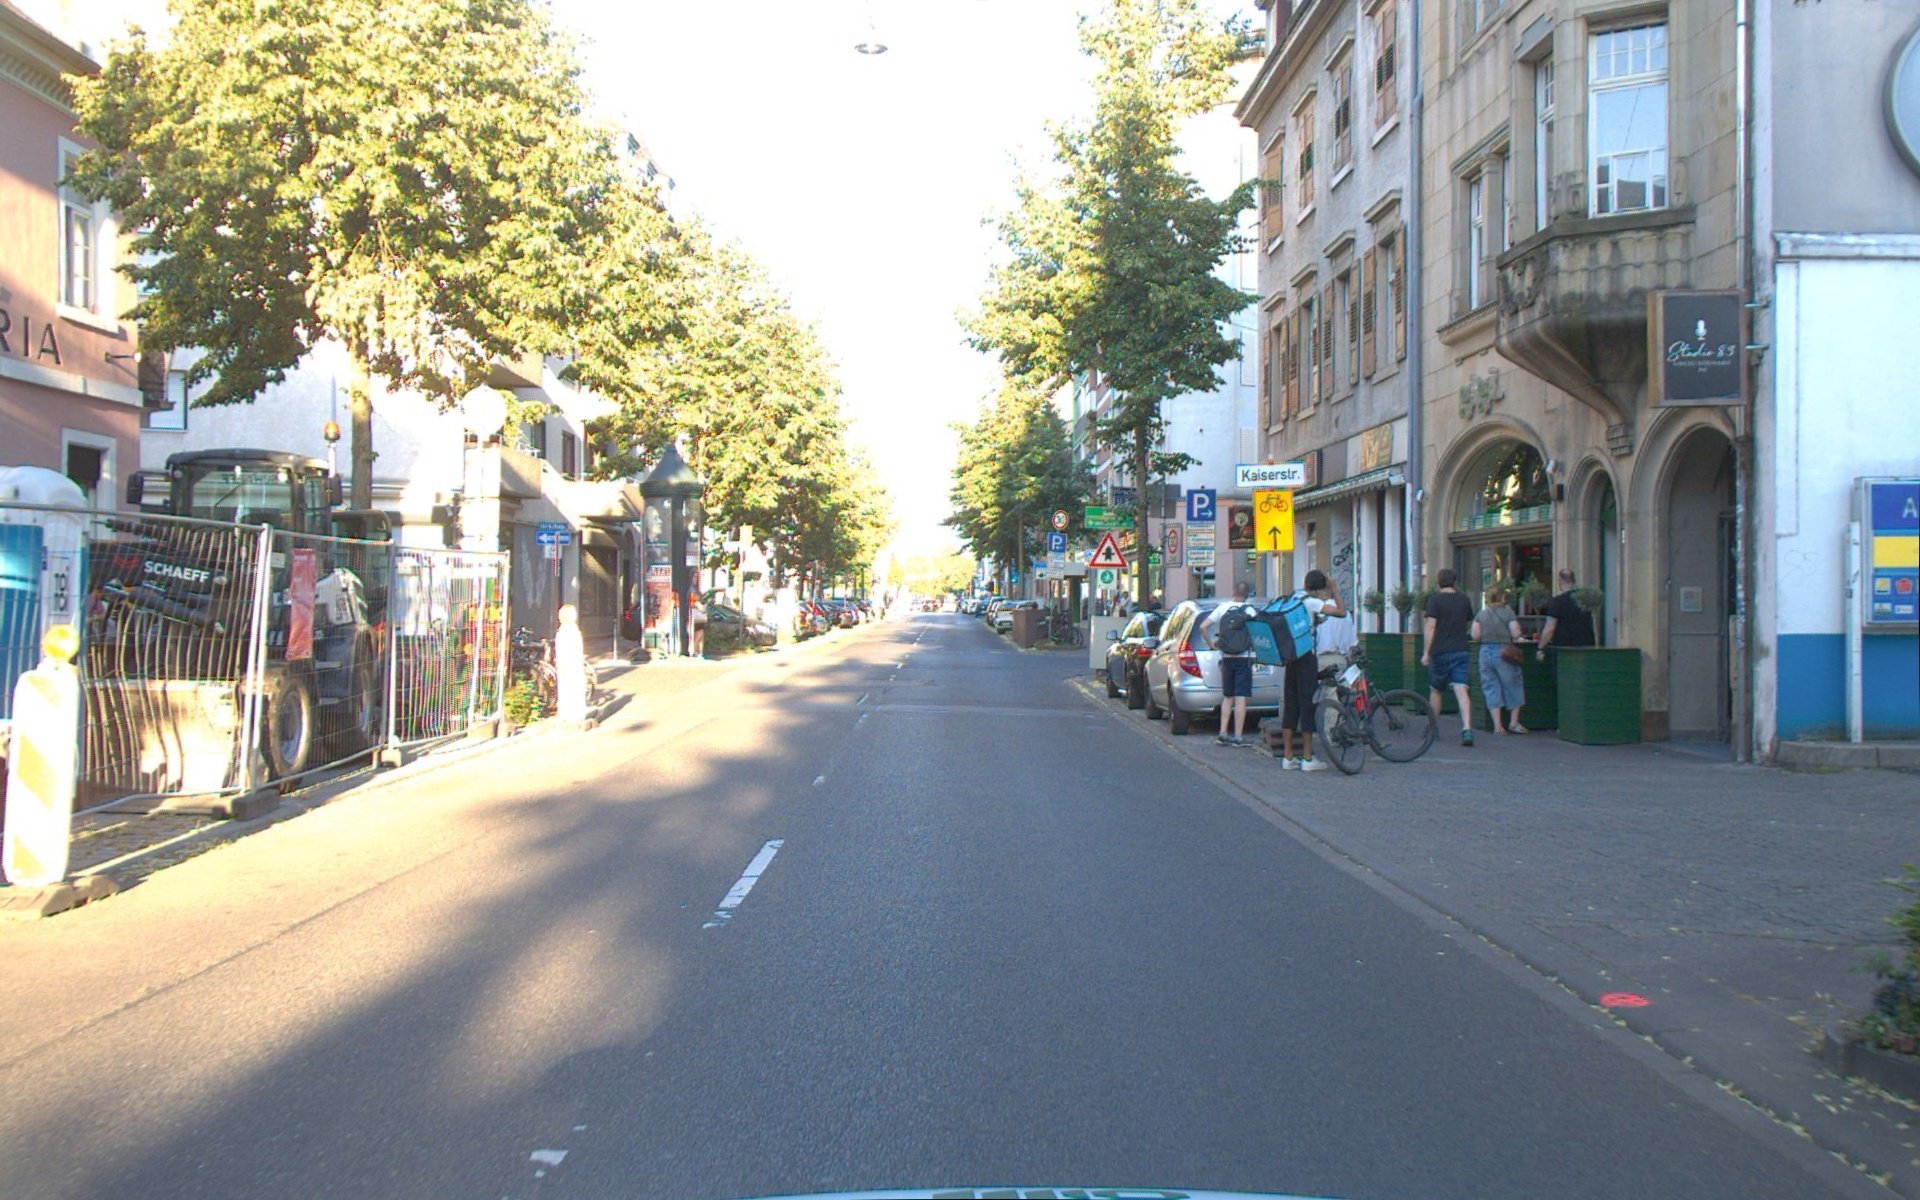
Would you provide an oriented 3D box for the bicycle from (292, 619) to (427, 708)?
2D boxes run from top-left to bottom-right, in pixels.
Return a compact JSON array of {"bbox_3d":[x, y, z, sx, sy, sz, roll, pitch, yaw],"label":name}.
[{"bbox_3d":[-8.161,0.859,22.508,1.647,1.169,0.444,1,-1,3],"label":"bicycle"}]

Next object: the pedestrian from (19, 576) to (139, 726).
[{"bbox_3d":[-10.919,0.614,20.516,0.799,1.796,1.040,0,0,19],"label":"pedestrian"}]

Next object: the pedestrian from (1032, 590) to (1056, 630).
[{"bbox_3d":[4.160,0.483,81.876,0.900,1.959,1.015,2,0,-11],"label":"pedestrian"}]

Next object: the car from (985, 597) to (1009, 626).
[{"bbox_3d":[2.441,0.764,109.747,1.482,1.897,4.235,1,-1,1],"label":"car"}]

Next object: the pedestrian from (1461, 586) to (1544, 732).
[{"bbox_3d":[6.114,0.650,18.659,0.645,1.589,0.701,-2,0,-1],"label":"pedestrian"}]

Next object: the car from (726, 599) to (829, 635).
[{"bbox_3d":[-8.103,0.755,73.635,4.351,1.484,1.859,1,0,0],"label":"car"}]

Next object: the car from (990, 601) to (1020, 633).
[{"bbox_3d":[2.321,0.891,85.722,1.482,1.605,3.218,1,0,1],"label":"car"}]

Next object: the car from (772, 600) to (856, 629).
[{"bbox_3d":[-7.887,0.797,89.859,4.351,1.474,1.919,1,0,0],"label":"car"}]

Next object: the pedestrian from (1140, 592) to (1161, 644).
[{"bbox_3d":[6.096,0.584,52.905,0.555,1.627,0.663,-1,1,0],"label":"pedestrian"}]

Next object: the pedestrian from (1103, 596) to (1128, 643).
[{"bbox_3d":[5.552,0.689,59.067,0.779,1.654,0.913,0,0,12],"label":"pedestrian"}]

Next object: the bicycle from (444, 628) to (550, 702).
[{"bbox_3d":[-6.994,0.975,25.020,1.458,1.077,0.470,1,-1,-7],"label":"bicycle"}]

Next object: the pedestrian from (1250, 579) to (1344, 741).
[{"bbox_3d":[3.744,0.651,18.403,0.666,1.735,0.822,-2,0,-15],"label":"pedestrian"}]

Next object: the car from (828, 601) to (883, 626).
[{"bbox_3d":[-8.501,1.096,134.504,4.351,1.994,1.919,1,0,0],"label":"car"}]

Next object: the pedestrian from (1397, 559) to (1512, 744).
[{"bbox_3d":[5.278,0.534,17.724,0.806,1.886,1.097,-2,0,-2],"label":"pedestrian"}]

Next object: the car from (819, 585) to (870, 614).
[{"bbox_3d":[-10.093,-0.013,144.663,4.351,2.477,1.919,1,-1,0],"label":"car"}]

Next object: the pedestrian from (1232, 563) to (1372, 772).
[{"bbox_3d":[3.184,0.613,15.446,0.995,1.857,0.778,-2,0,-10],"label":"pedestrian"}]

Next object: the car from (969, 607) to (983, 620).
[{"bbox_3d":[1.704,1.439,175.302,1.482,1.285,3.303,1,-1,1],"label":"car"}]

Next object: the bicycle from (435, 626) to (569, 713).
[{"bbox_3d":[-6.243,0.939,22.566,1.648,1.097,0.444,3,-1,-1],"label":"bicycle"}]

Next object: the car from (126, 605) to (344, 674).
[{"bbox_3d":[-15.411,0.809,35.316,4.139,1.404,1.985,0,0,-24],"label":"car"}]

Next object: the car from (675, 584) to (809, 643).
[{"bbox_3d":[-7.748,0.475,59.056,4.478,1.996,1.990,1,0,-1],"label":"car"}]

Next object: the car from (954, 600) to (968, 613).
[{"bbox_3d":[0.170,0.831,209.595,1.716,1.567,3.303,0,-1,1],"label":"car"}]

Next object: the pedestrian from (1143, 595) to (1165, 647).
[{"bbox_3d":[6.114,0.663,52.141,0.555,1.611,0.663,-1,1,0],"label":"pedestrian"}]

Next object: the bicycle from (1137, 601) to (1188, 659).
[{"bbox_3d":[4.098,0.603,33.513,0.762,1.131,1.899,-1,-1,-1],"label":"bicycle"}]

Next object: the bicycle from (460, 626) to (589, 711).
[{"bbox_3d":[-6.094,0.955,23.159,1.647,1.097,0.445,3,-1,7],"label":"bicycle"}]

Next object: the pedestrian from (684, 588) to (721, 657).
[{"bbox_3d":[-6.435,0.559,41.411,0.695,1.716,0.834,0,0,8],"label":"pedestrian"}]

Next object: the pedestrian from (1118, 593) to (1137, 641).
[{"bbox_3d":[6.054,0.612,59.859,0.617,1.709,0.892,0,0,10],"label":"pedestrian"}]

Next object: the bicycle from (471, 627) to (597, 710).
[{"bbox_3d":[-6.111,0.981,23.750,1.647,1.097,0.445,3,-1,7],"label":"bicycle"}]

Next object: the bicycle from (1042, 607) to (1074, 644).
[{"bbox_3d":[3.231,0.834,54.402,0.585,1.198,1.847,0,0,19],"label":"bicycle"}]

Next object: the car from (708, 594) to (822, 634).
[{"bbox_3d":[-7.855,0.554,66.765,4.351,1.533,1.844,1,0,0],"label":"car"}]

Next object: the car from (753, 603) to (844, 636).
[{"bbox_3d":[-8.101,0.976,83.253,4.351,1.595,1.919,1,0,0],"label":"car"}]

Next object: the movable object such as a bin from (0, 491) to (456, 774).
[{"bbox_3d":[-8.305,0.292,16.897,2.273,2.539,5.719,0,0,42],"label":"movable object such as a bin"}]

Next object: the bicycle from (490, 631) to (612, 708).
[{"bbox_3d":[-6.046,1.022,24.469,1.647,1.039,0.445,3,-1,7],"label":"bicycle"}]

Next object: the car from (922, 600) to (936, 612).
[{"bbox_3d":[-4.025,0.758,217.150,1.716,1.567,3.303,0,-1,1],"label":"car"}]

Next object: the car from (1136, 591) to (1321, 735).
[{"bbox_3d":[3.336,0.726,21.241,1.652,1.602,4.012,-2,0,0],"label":"car"}]

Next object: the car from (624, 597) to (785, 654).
[{"bbox_3d":[-7.454,0.738,48.591,4.454,1.568,1.810,1,0,-2],"label":"car"}]

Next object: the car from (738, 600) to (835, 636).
[{"bbox_3d":[-8.210,0.847,78.620,4.351,1.595,1.919,1,0,0],"label":"car"}]

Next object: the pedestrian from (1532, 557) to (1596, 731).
[{"bbox_3d":[6.742,0.485,18.467,0.452,1.908,0.499,-1,0,-16],"label":"pedestrian"}]

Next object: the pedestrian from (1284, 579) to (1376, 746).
[{"bbox_3d":[3.960,0.659,17.690,0.648,1.730,0.657,-2,0,-45],"label":"pedestrian"}]

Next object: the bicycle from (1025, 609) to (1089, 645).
[{"bbox_3d":[3.101,0.858,52.940,1.918,1.092,0.704,0,0,31],"label":"bicycle"}]

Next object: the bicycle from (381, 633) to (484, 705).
[{"bbox_3d":[-7.515,0.979,23.589,1.296,0.997,0.444,1,-1,3],"label":"bicycle"}]

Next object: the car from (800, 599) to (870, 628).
[{"bbox_3d":[-8.055,0.891,107.231,4.351,1.790,1.919,1,0,0],"label":"car"}]

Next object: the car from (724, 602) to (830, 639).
[{"bbox_3d":[-7.872,0.865,71.331,4.351,1.510,1.809,1,0,0],"label":"car"}]

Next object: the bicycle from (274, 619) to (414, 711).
[{"bbox_3d":[-8.127,0.851,21.847,1.647,1.169,0.444,1,-1,3],"label":"bicycle"}]

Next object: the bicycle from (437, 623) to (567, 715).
[{"bbox_3d":[-5.993,0.910,21.678,1.530,1.136,0.439,4,-2,-34],"label":"bicycle"}]

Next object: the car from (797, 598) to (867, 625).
[{"bbox_3d":[-8.111,0.702,105.130,4.215,1.626,1.919,1,0,0],"label":"car"}]

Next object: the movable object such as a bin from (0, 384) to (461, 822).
[{"bbox_3d":[-6.317,0.022,14.078,2.571,3.021,5.302,0,0,-1],"label":"movable object such as a bin"}]

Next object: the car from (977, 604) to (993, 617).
[{"bbox_3d":[2.337,1.003,157.314,1.482,1.298,3.303,1,-1,1],"label":"car"}]

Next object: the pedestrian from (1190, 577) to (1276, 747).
[{"bbox_3d":[2.944,0.650,17.869,0.665,1.785,0.823,0,-1,-11],"label":"pedestrian"}]

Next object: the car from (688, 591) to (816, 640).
[{"bbox_3d":[-7.714,0.586,61.685,4.478,1.727,2.060,1,0,0],"label":"car"}]

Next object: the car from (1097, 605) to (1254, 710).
[{"bbox_3d":[3.268,0.826,25.867,1.749,1.399,4.523,-2,0,-1],"label":"car"}]

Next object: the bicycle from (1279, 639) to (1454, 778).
[{"bbox_3d":[3.814,0.969,15.402,0.850,1.118,1.918,-2,0,38],"label":"bicycle"}]

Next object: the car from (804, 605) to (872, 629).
[{"bbox_3d":[-8.102,1.109,110.348,4.351,1.525,1.919,1,0,0],"label":"car"}]

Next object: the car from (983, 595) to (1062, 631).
[{"bbox_3d":[2.957,0.626,77.671,1.645,1.616,3.800,1,0,42],"label":"car"}]

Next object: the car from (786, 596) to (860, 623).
[{"bbox_3d":[-8.313,0.586,100.729,4.351,1.549,1.919,1,0,0],"label":"car"}]

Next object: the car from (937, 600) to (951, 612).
[{"bbox_3d":[-2.087,0.794,211.668,1.685,1.501,3.303,0,-1,1],"label":"car"}]
